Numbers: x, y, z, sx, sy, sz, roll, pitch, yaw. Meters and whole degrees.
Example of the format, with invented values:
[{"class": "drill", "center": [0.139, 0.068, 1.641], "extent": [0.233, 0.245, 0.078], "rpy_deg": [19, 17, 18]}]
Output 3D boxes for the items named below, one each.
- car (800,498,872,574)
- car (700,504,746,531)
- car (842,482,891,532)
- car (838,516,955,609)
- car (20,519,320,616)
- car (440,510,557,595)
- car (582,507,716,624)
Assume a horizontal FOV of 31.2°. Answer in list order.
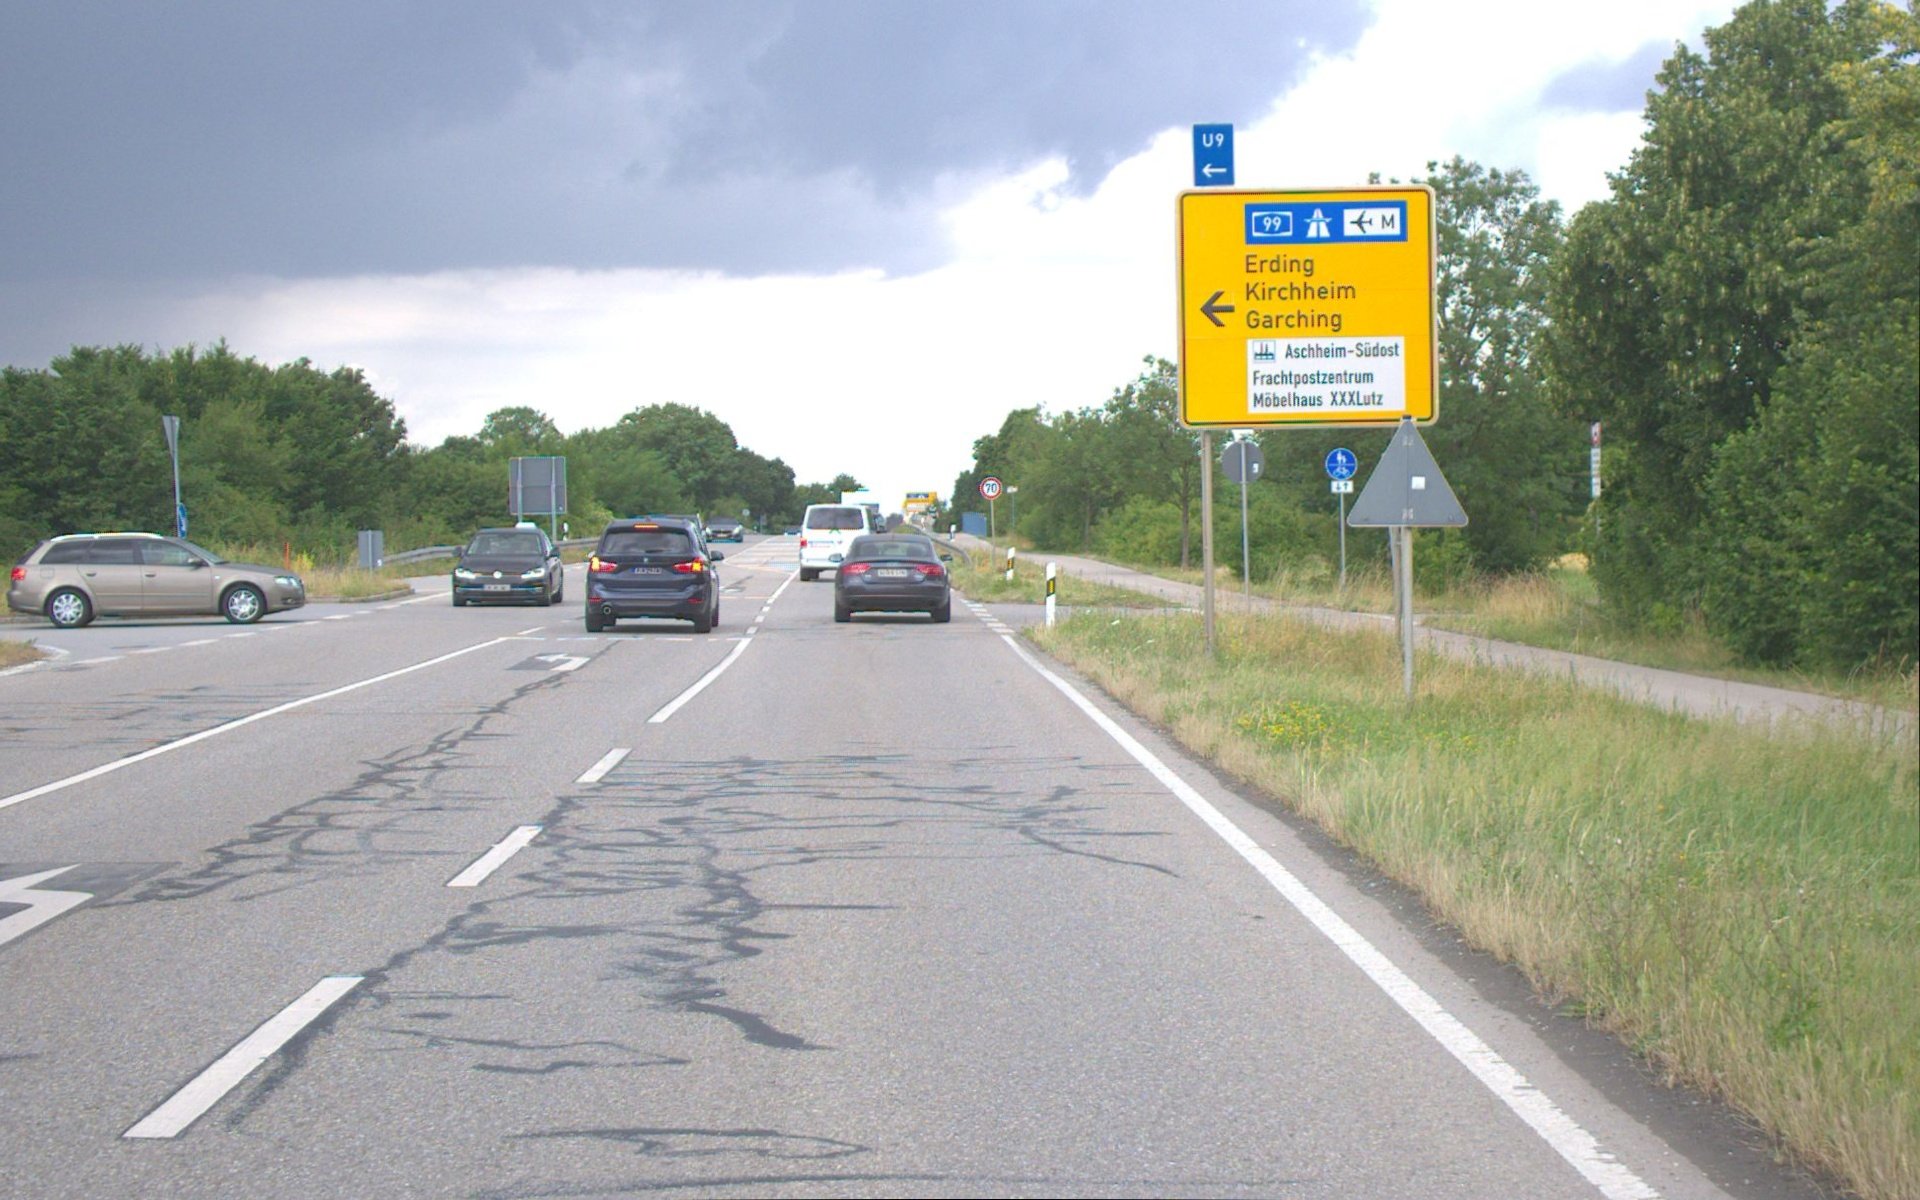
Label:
[{"class": "car", "center": [-3.182, -1.646, 88.271], "extent": [1.785, 1.883, 4.000], "rpy_deg": [1, 1, -2]}, {"class": "car", "center": [-12.010, -4.182, 174.283], "extent": [2.164, 1.280, 4.238], "rpy_deg": [3, 1, -3]}, {"class": "car", "center": [-4.796, -4.810, 177.188], "extent": [2.447, 2.495, 5.042], "rpy_deg": [1, 2, -1]}, {"class": "car", "center": [-1.039, -0.616, 54.859], "extent": [1.785, 1.419, 4.000], "rpy_deg": [1, 1, -2]}, {"class": "car", "center": [-12.348, -0.527, 54.005], "extent": [4.449, 1.419, 1.912], "rpy_deg": [-1, 1, -9]}, {"class": "car", "center": [-8.564, -0.902, 64.039], "extent": [1.679, 1.516, 4.396], "rpy_deg": [1, 1, -1]}, {"class": "car", "center": [-4.512, -0.538, 50.391], "extent": [1.702, 1.605, 4.483], "rpy_deg": [-1, 1, -2]}]
